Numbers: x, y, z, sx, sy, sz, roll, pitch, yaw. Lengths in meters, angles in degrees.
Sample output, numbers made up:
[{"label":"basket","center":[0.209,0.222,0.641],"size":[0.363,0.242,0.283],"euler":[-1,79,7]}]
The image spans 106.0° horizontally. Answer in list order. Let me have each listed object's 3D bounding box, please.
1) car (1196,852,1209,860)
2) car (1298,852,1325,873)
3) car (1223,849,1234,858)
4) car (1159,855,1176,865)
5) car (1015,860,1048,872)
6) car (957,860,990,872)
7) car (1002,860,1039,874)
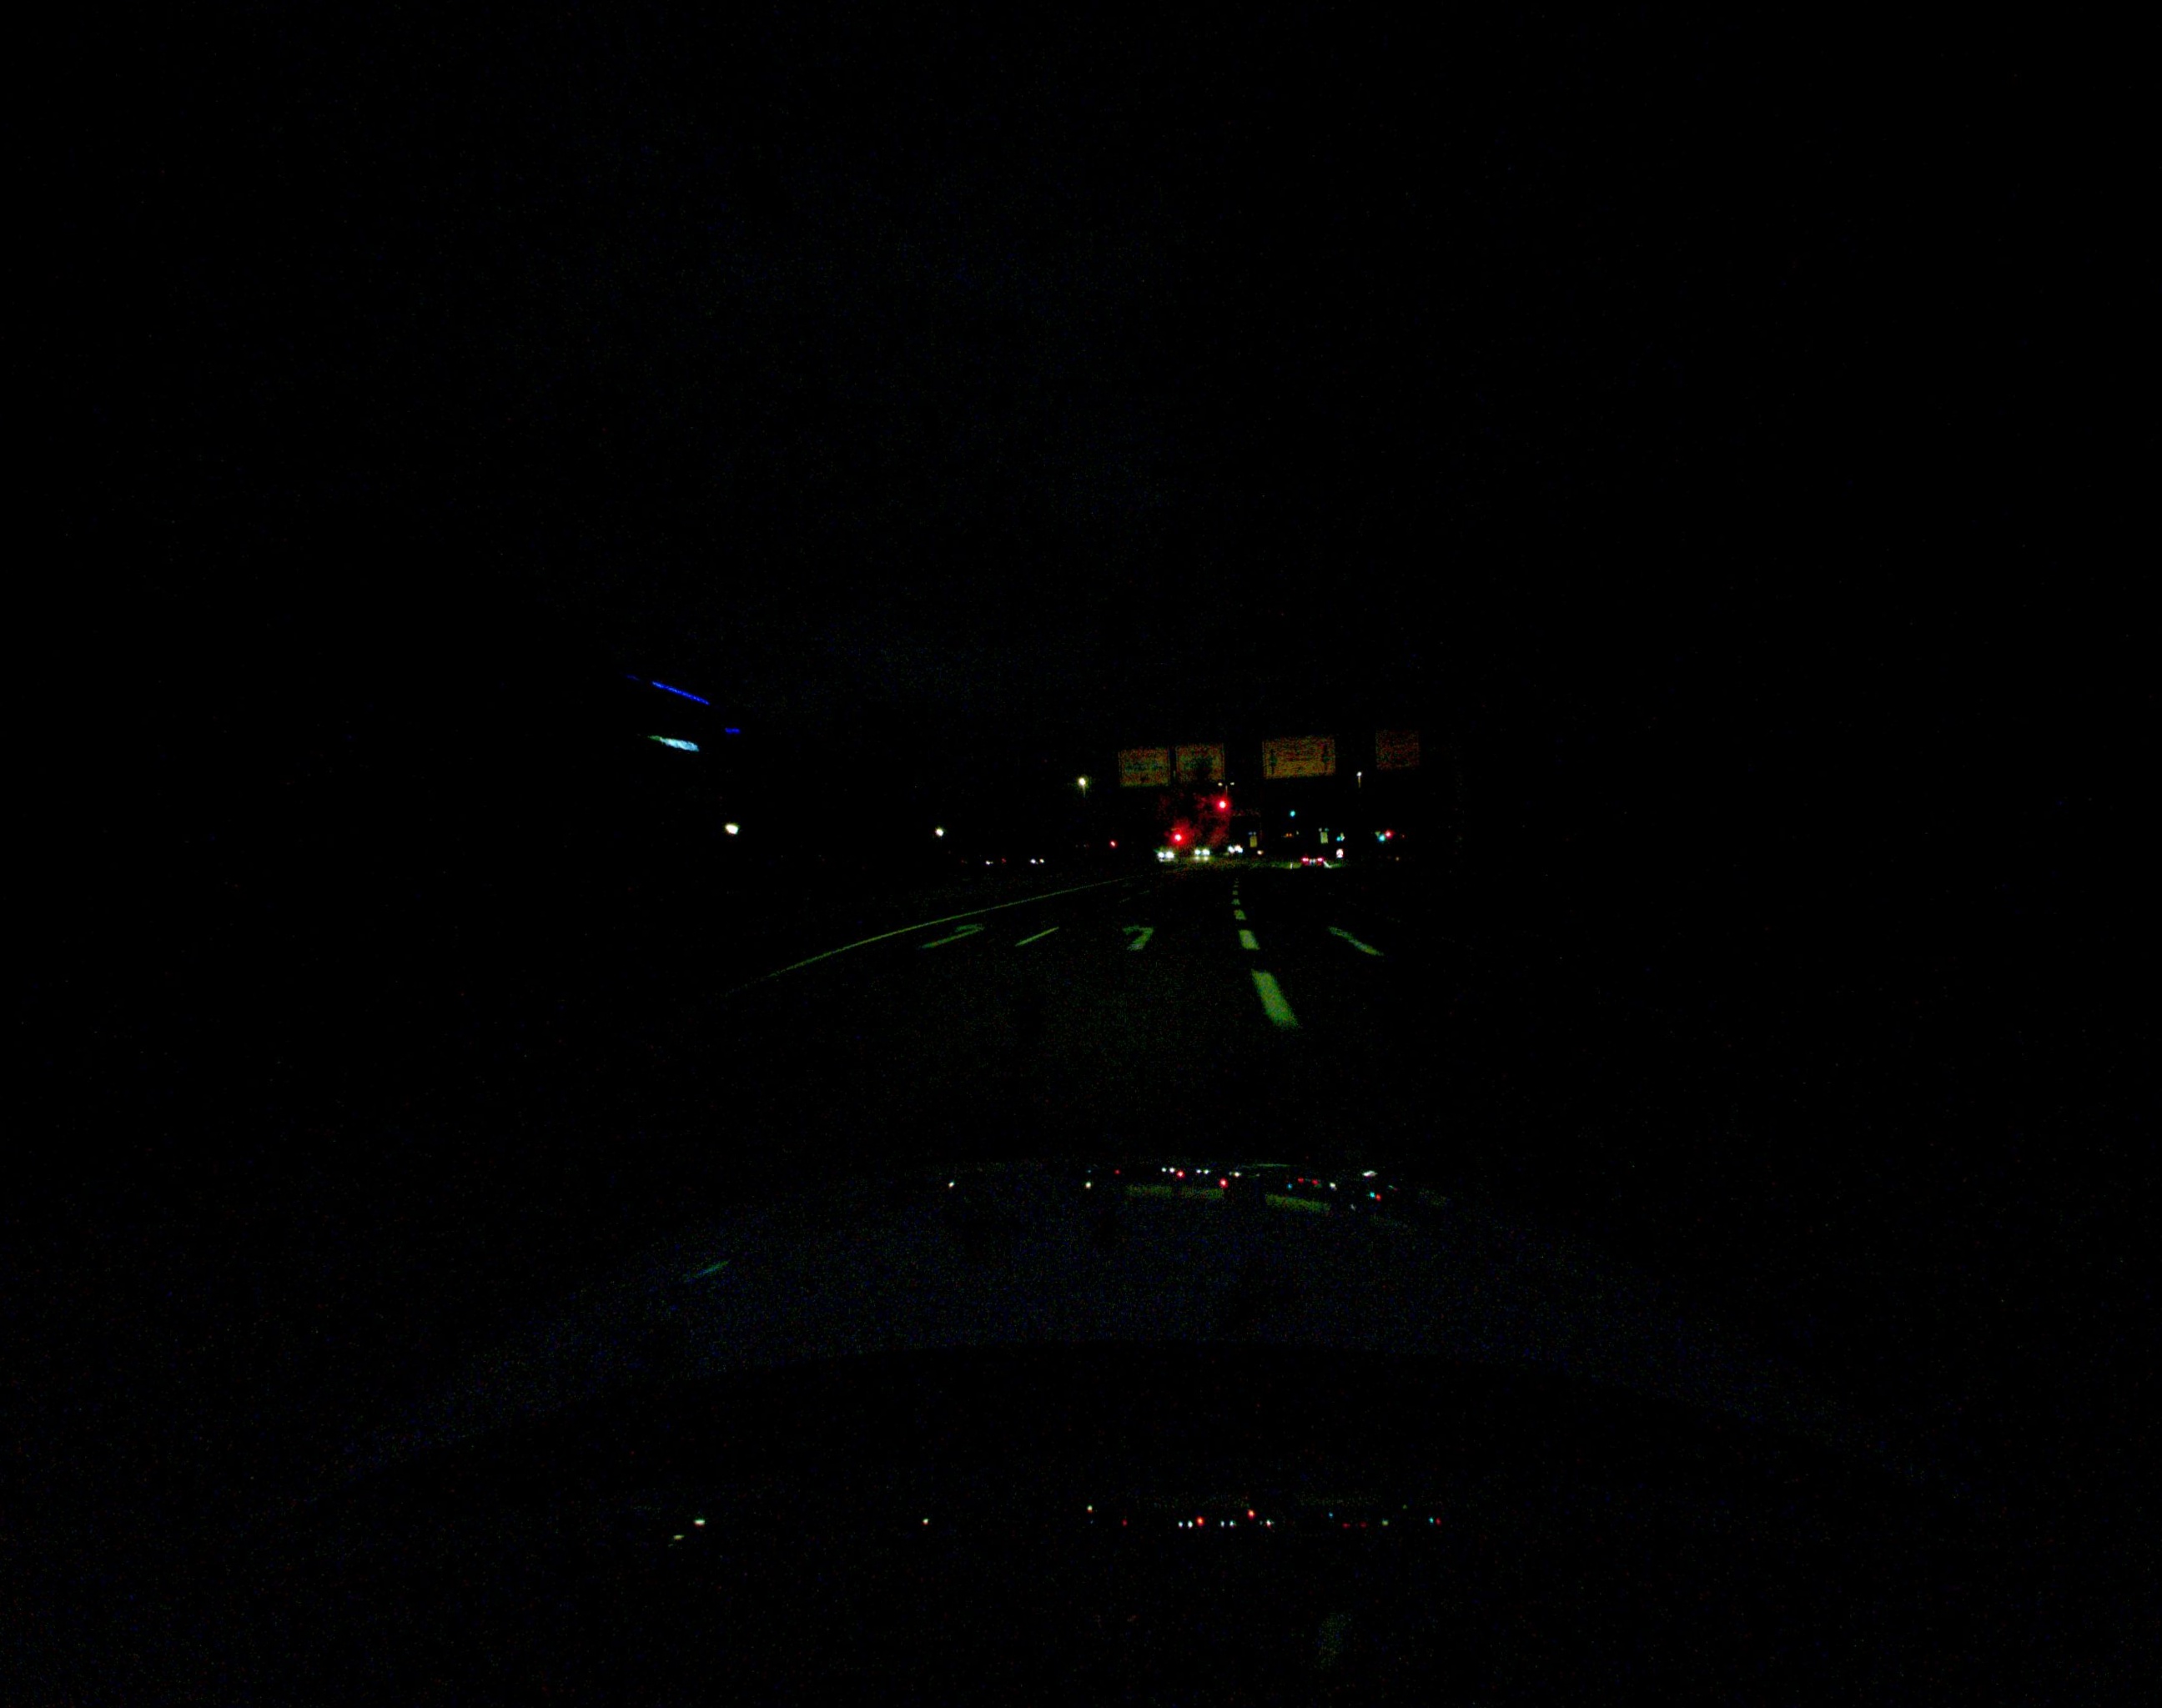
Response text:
[{"label":"car","center":[22.080,0.330,147.691],"size":[1.979,1.482,4.699],"euler":[-1,0,14]},{"label":"car","center":[19.321,0.675,68.151],"size":[1.992,1.611,3.862],"euler":[3,1,17]},{"label":"car","center":[30.580,-0.085,168.741],"size":[1.979,1.698,4.015],"euler":[-1,0,14]},{"label":"car","center":[13.954,0.954,131.232],"size":[1.979,1.425,4.549],"euler":[-1,0,14]},{"label":"car","center":[-6.466,1.589,107.111],"size":[4.014,1.537,1.735],"euler":[-2,-1,11]},{"label":"car","center":[-13.938,1.558,105.640],"size":[3.964,1.473,1.734],"euler":[-2,-1,8]},{"label":"car","center":[-7.680,1.637,103.530],"size":[4.283,1.537,1.736],"euler":[-2,-1,13]}]
